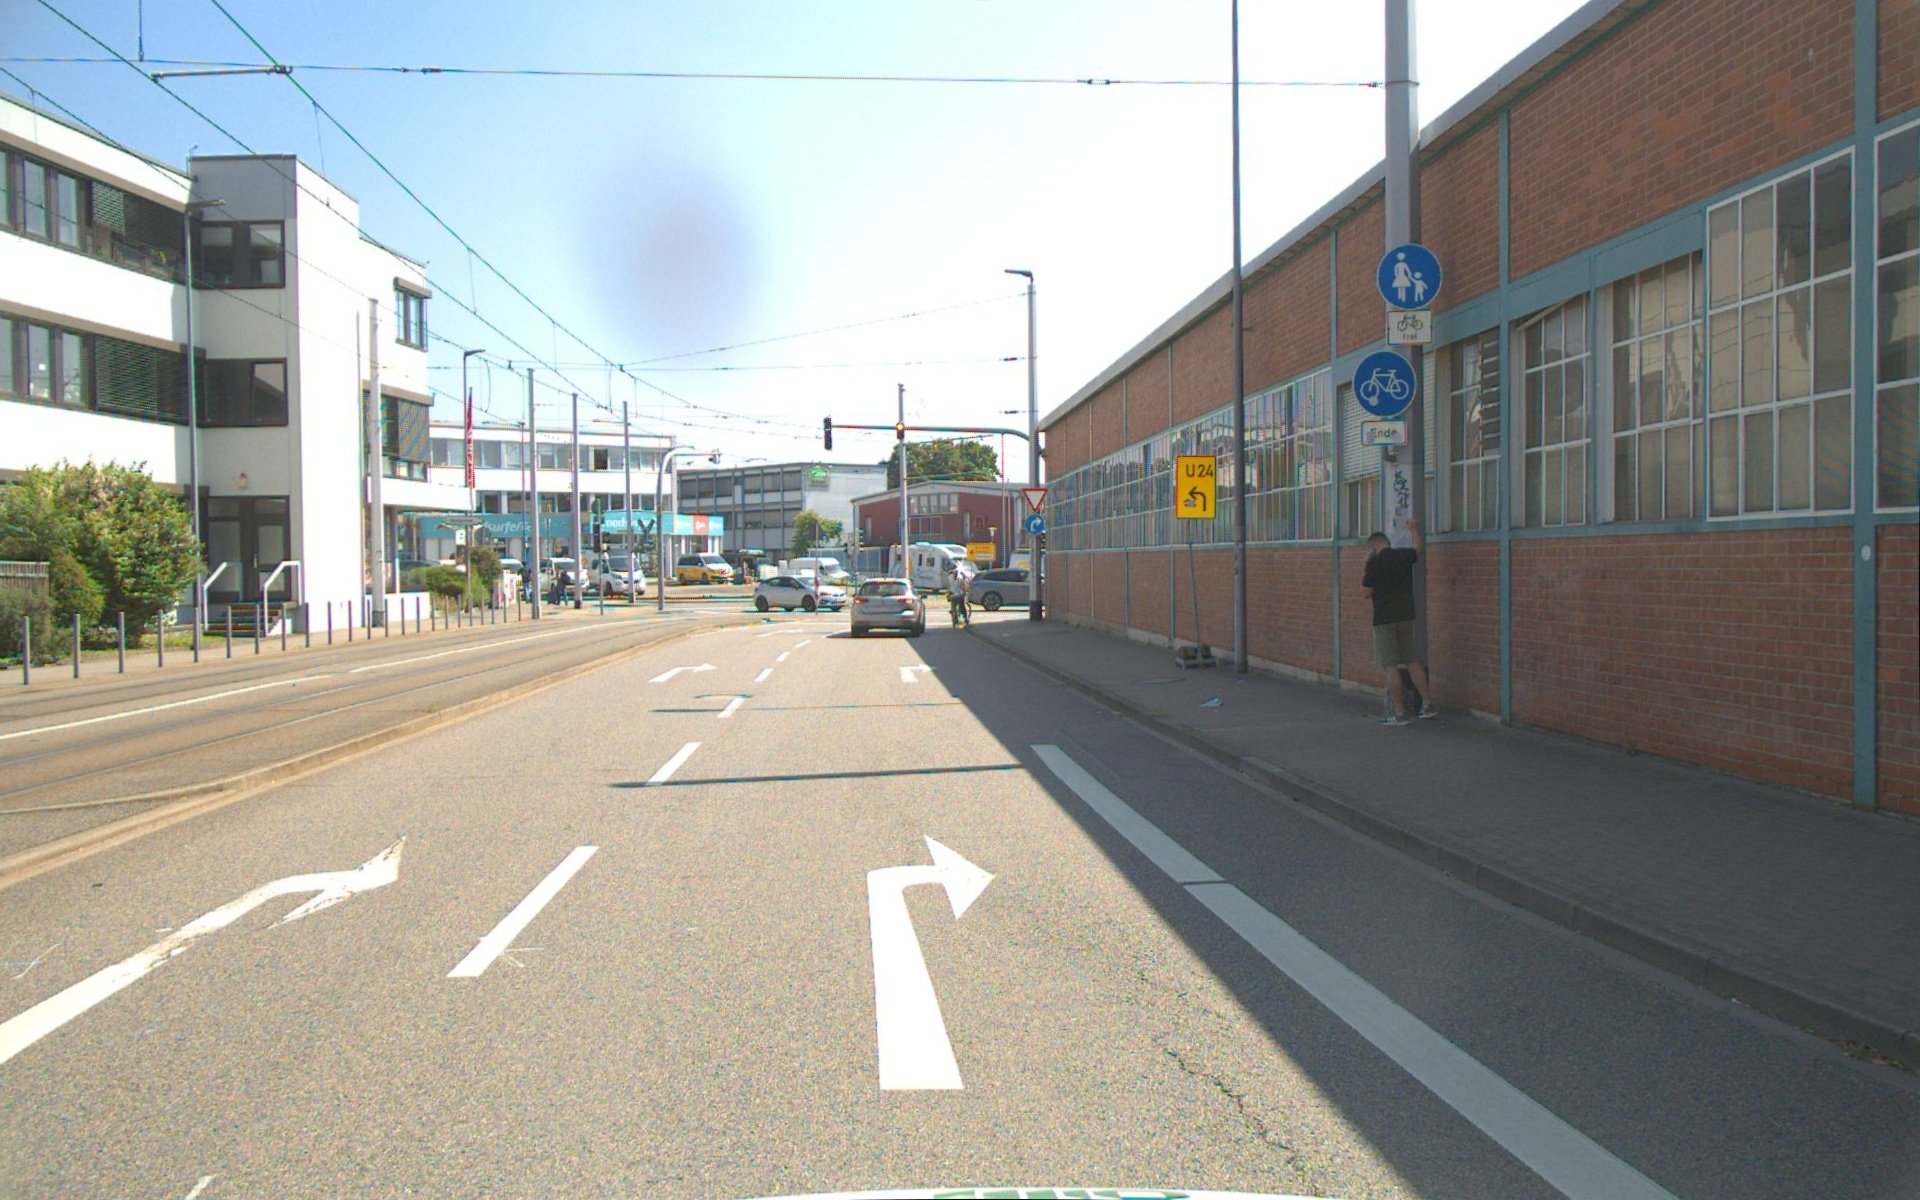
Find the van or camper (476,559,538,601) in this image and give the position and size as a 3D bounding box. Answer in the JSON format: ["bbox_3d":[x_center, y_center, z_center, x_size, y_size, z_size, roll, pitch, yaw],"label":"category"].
[{"bbox_3d":[-24.663,-1.123,89.937,1.975,2.048,4.709,-2,4,-33],"label":"van or camper"}]

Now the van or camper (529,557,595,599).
[{"bbox_3d":[-21.815,-1.254,90.494,1.975,2.048,4.955,-2,4,-33],"label":"van or camper"}]

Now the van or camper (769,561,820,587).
[{"bbox_3d":[-13.322,-2.085,132.897,3.927,1.981,1.989,0,1,41],"label":"van or camper"}]

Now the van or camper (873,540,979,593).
[{"bbox_3d":[-2.091,-2.053,99.167,2.337,2.981,6.872,-3,4,-45],"label":"van or camper"}]

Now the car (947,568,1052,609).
[{"bbox_3d":[1.554,-0.450,64.230,3.902,1.534,1.881,-1,1,7],"label":"car"}]

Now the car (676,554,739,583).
[{"bbox_3d":[-16.196,-2.006,105.986,1.923,1.789,5.057,-1,1,-36],"label":"car"}]

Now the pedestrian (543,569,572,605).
[{"bbox_3d":[-16.912,-0.556,69.518,1.110,1.480,0.835,-1,1,-13],"label":"pedestrian"}]

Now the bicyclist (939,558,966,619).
[{"bbox_3d":[-0.209,-0.345,48.151,0.769,1.751,1.147,0,1,0],"label":"bicyclist"}]

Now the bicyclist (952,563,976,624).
[{"bbox_3d":[0.117,-0.205,50.377,0.693,1.842,0.983,0,1,-1],"label":"bicyclist"}]

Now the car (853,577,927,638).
[{"bbox_3d":[-1.808,0.164,43.475,1.710,1.484,4.001,-1,1,1],"label":"car"}]

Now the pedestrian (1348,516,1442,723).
[{"bbox_3d":[3.843,0.155,14.634,0.672,1.795,0.448,-1,3,-12],"label":"pedestrian"}]

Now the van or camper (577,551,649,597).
[{"bbox_3d":[-19.334,-1.494,92.056,2.012,2.335,5.748,-2,4,-33],"label":"van or camper"}]

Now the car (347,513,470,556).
[{"bbox_3d":[-20.545,-2.451,61.751,3.905,1.545,2.001,0,3,0],"label":"car"}]

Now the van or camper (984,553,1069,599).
[{"bbox_3d":[4.041,-1.509,101.500,2.267,2.482,5.312,-3,5,-39],"label":"van or camper"}]

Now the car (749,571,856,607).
[{"bbox_3d":[-6.382,-0.457,66.993,4.118,1.398,1.797,0,1,34],"label":"car"}]

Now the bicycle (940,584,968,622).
[{"bbox_3d":[-0.165,0.073,48.250,0.778,1.039,2.151,0,1,1],"label":"bicycle"}]
